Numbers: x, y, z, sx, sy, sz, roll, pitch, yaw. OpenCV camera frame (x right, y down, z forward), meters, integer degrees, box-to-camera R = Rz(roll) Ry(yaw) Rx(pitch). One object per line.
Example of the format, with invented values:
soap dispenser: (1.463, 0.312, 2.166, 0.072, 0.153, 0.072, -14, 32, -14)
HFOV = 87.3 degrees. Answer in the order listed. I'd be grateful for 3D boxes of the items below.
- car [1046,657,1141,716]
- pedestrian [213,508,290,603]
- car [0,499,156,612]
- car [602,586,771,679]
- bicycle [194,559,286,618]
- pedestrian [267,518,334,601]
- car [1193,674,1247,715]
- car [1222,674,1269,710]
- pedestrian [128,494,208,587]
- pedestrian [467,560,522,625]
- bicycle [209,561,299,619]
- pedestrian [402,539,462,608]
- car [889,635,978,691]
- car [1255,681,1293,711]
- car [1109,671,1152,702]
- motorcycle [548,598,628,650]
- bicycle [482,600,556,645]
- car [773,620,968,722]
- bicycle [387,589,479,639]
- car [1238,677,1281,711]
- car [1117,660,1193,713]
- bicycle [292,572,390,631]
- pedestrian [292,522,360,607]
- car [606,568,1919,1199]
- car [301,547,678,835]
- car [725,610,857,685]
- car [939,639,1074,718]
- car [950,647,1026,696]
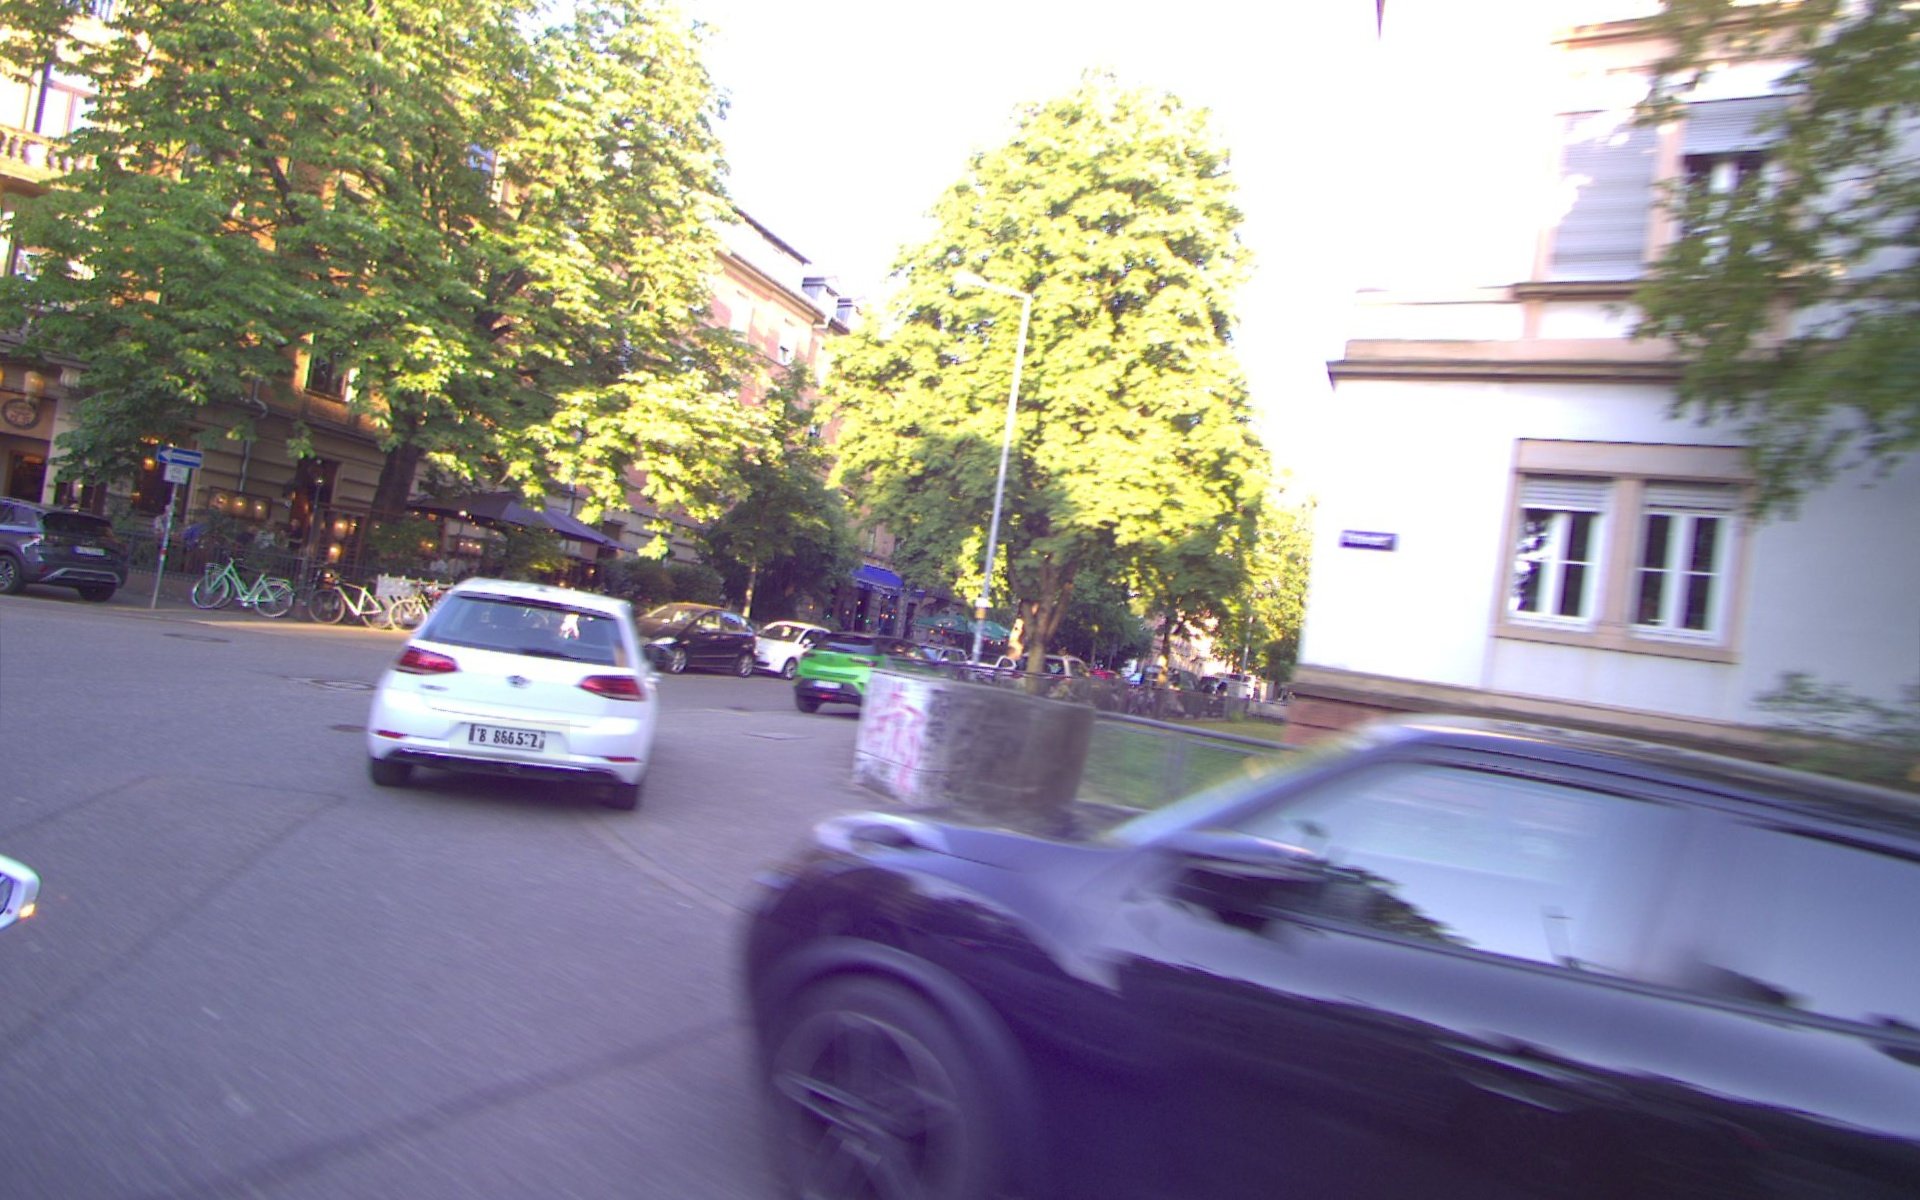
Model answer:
car: (4.346, 2.805, 32.289, 1.848, 1.545, 3.975, 4, -5, 24)
pedestrian: (-15.047, -0.941, 21.373, 0.827, 1.824, 0.776, 9, -1, 16)
car: (-16.743, -0.941, 17.564, 3.823, 1.542, 1.924, 10, -2, 7)
car: (-6.350, 0.839, 23.802, 1.598, 1.623, 3.772, 10, -3, 25)
bicycle: (-14.041, -0.217, 19.630, 1.343, 0.924, 0.319, 10, -1, -11)
pedestrian: (-15.984, -0.975, 24.397, 0.827, 1.824, 0.776, 9, -1, 16)
car: (12.916, 4.695, 49.781, 1.848, 1.673, 3.975, 4, -5, 24)
car: (15.745, 5.088, 55.374, 1.848, 1.673, 3.975, 4, -5, 24)
pedestrian: (-17.096, -1.268, 21.727, 0.761, 1.824, 0.844, 9, -1, 11)
pedestrian: (-11.901, -0.183, 25.740, 0.747, 1.498, 0.776, 8, -1, 21)
bicycle: (-14.021, -0.199, 20.002, 1.343, 0.924, 0.319, 10, -1, -11)
pedestrian: (-12.660, -0.624, 24.148, 0.747, 1.498, 0.776, 9, -1, 20)
car: (-0.901, 2.335, 36.587, 1.598, 1.570, 3.772, 7, -4, 25)
car: (20.687, 6.349, 66.206, 1.848, 1.673, 3.975, 4, -5, 24)
car: (10.584, 5.383, 62.304, 1.598, 1.570, 3.772, 7, -4, 24)
motorcycle: (-9.649, 0.647, 26.139, 0.511, 1.093, 1.834, 8, -2, 37)
bicycle: (-10.588, 0.557, 24.221, 0.393, 0.895, 1.883, 9, -2, 18)
car: (-1.555, 1.415, 19.010, 1.848, 1.545, 3.975, 4, -5, 24)
bicycle: (-11.442, 0.322, 21.923, 0.393, 0.895, 1.977, 9, -2, 18)
car: (17.748, 5.590, 59.535, 1.848, 1.673, 3.975, 4, -5, 24)
car: (7.391, 3.289, 37.796, 1.848, 1.673, 3.975, 4, -5, 24)
bicycle: (-12.591, 0.037, 20.499, 0.315, 0.967, 1.570, 8, -2, 43)
pedestrian: (-14.969, -0.831, 23.773, 0.827, 1.824, 0.776, 9, -1, 16)
car: (1.197, 0.997, 2.591, 3.904, 1.588, 1.700, 7, -2, 30)
car: (-3.343, 0.601, 8.020, 1.854, 1.482, 3.962, 10, -3, -15)
car: (-4.576, 1.367, 27.762, 1.598, 1.570, 3.772, 7, -4, 25)
car: (1.240, 1.982, 24.702, 1.848, 1.545, 3.975, 4, -5, 24)
car: (1.198, 2.956, 40.922, 1.598, 1.570, 3.772, 7, -4, 25)
